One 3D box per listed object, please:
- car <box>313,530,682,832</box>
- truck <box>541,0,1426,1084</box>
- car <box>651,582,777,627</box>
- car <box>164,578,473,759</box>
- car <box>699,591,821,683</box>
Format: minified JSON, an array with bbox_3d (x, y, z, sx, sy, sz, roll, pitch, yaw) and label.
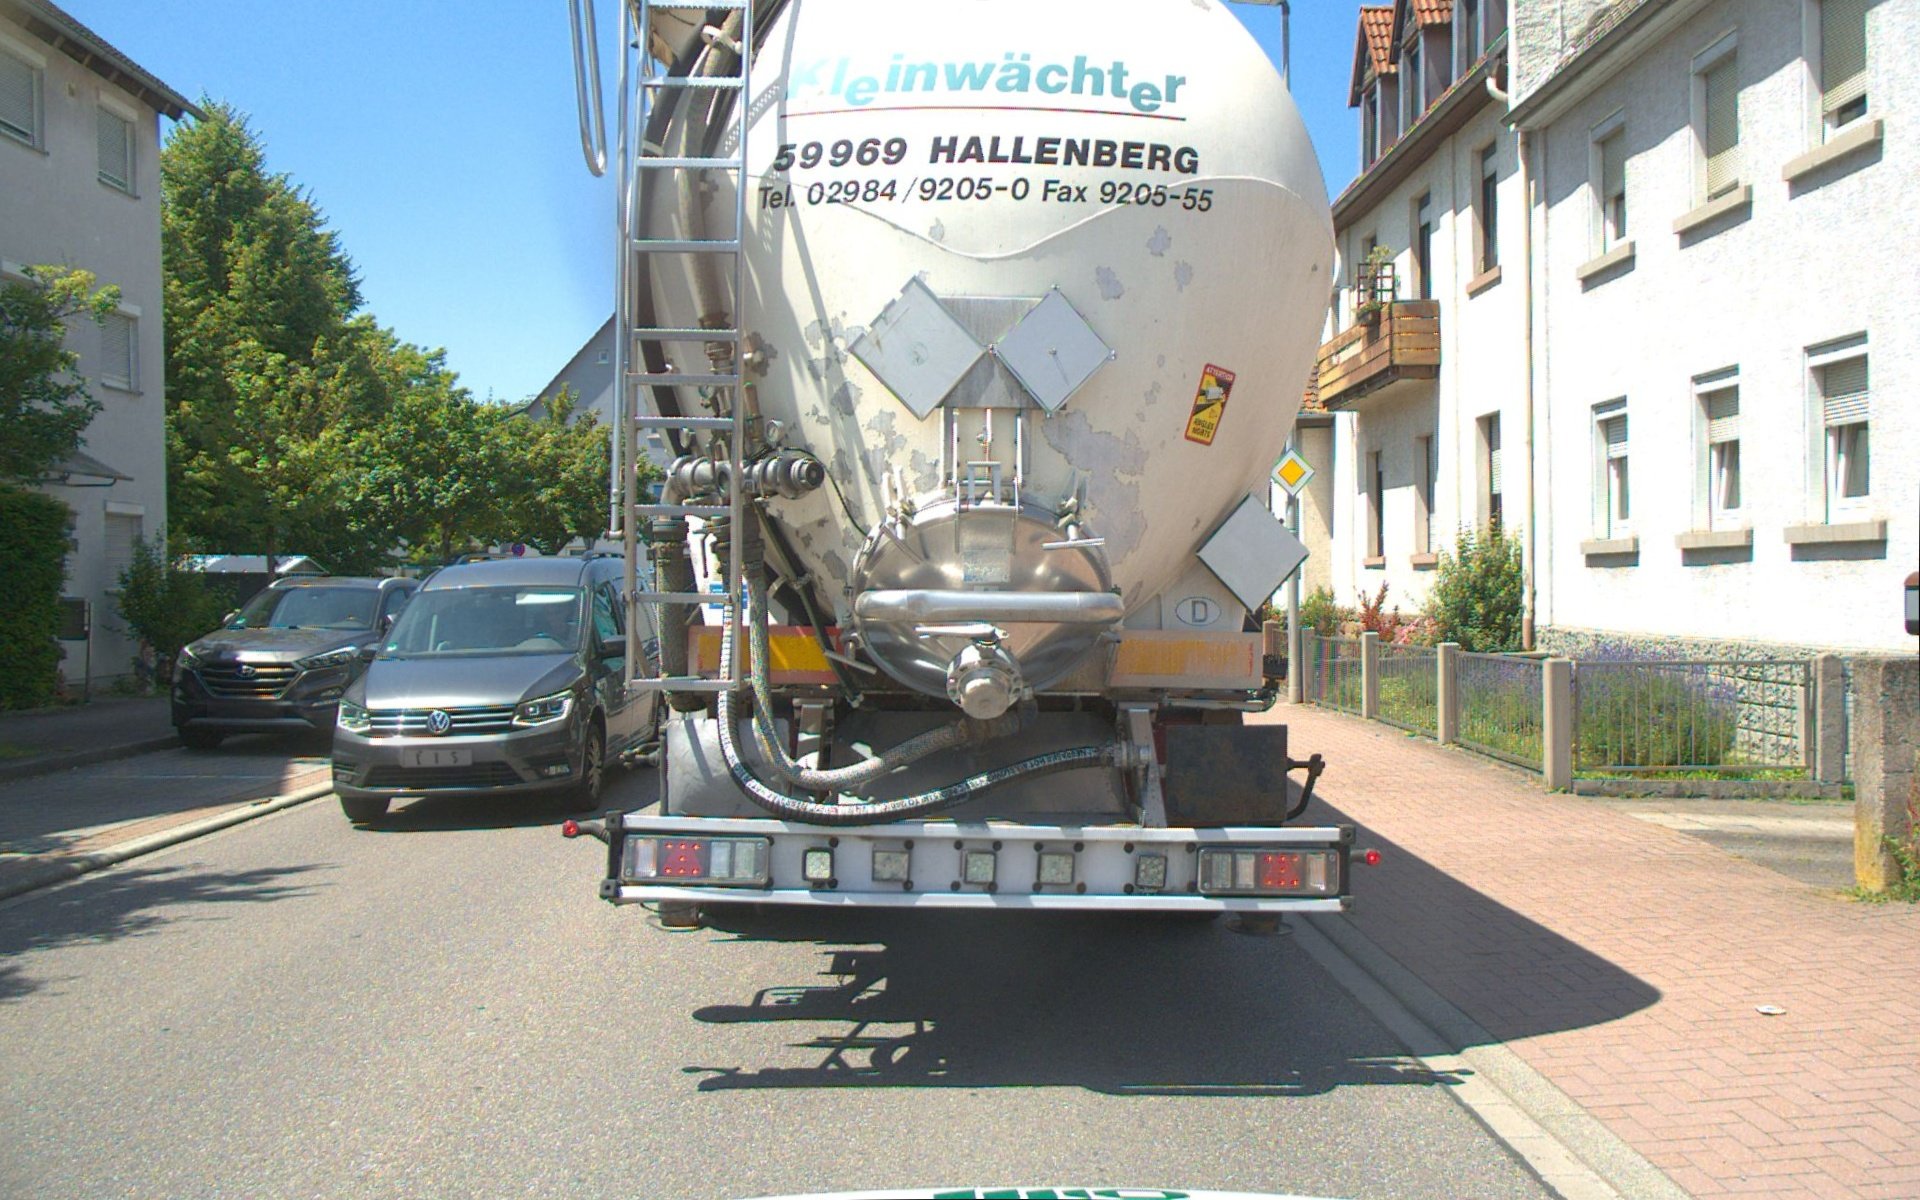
[{"bbox_3d":[-3.349,0.504,12.884,1.622,1.887,4.463,-2,0,-1],"label":"car"},{"bbox_3d":[0.027,-0.650,9.640,2.587,4.086,9.560,0,0,-1],"label":"truck"},{"bbox_3d":[-9.549,0.178,64.276,4.526,1.680,1.742,0,0,7],"label":"car"},{"bbox_3d":[-6.453,0.613,17.116,1.657,1.648,3.997,0,0,0],"label":"car"},{"bbox_3d":[-3.553,0.612,30.013,1.684,1.472,4.254,-2,1,-1],"label":"car"}]
